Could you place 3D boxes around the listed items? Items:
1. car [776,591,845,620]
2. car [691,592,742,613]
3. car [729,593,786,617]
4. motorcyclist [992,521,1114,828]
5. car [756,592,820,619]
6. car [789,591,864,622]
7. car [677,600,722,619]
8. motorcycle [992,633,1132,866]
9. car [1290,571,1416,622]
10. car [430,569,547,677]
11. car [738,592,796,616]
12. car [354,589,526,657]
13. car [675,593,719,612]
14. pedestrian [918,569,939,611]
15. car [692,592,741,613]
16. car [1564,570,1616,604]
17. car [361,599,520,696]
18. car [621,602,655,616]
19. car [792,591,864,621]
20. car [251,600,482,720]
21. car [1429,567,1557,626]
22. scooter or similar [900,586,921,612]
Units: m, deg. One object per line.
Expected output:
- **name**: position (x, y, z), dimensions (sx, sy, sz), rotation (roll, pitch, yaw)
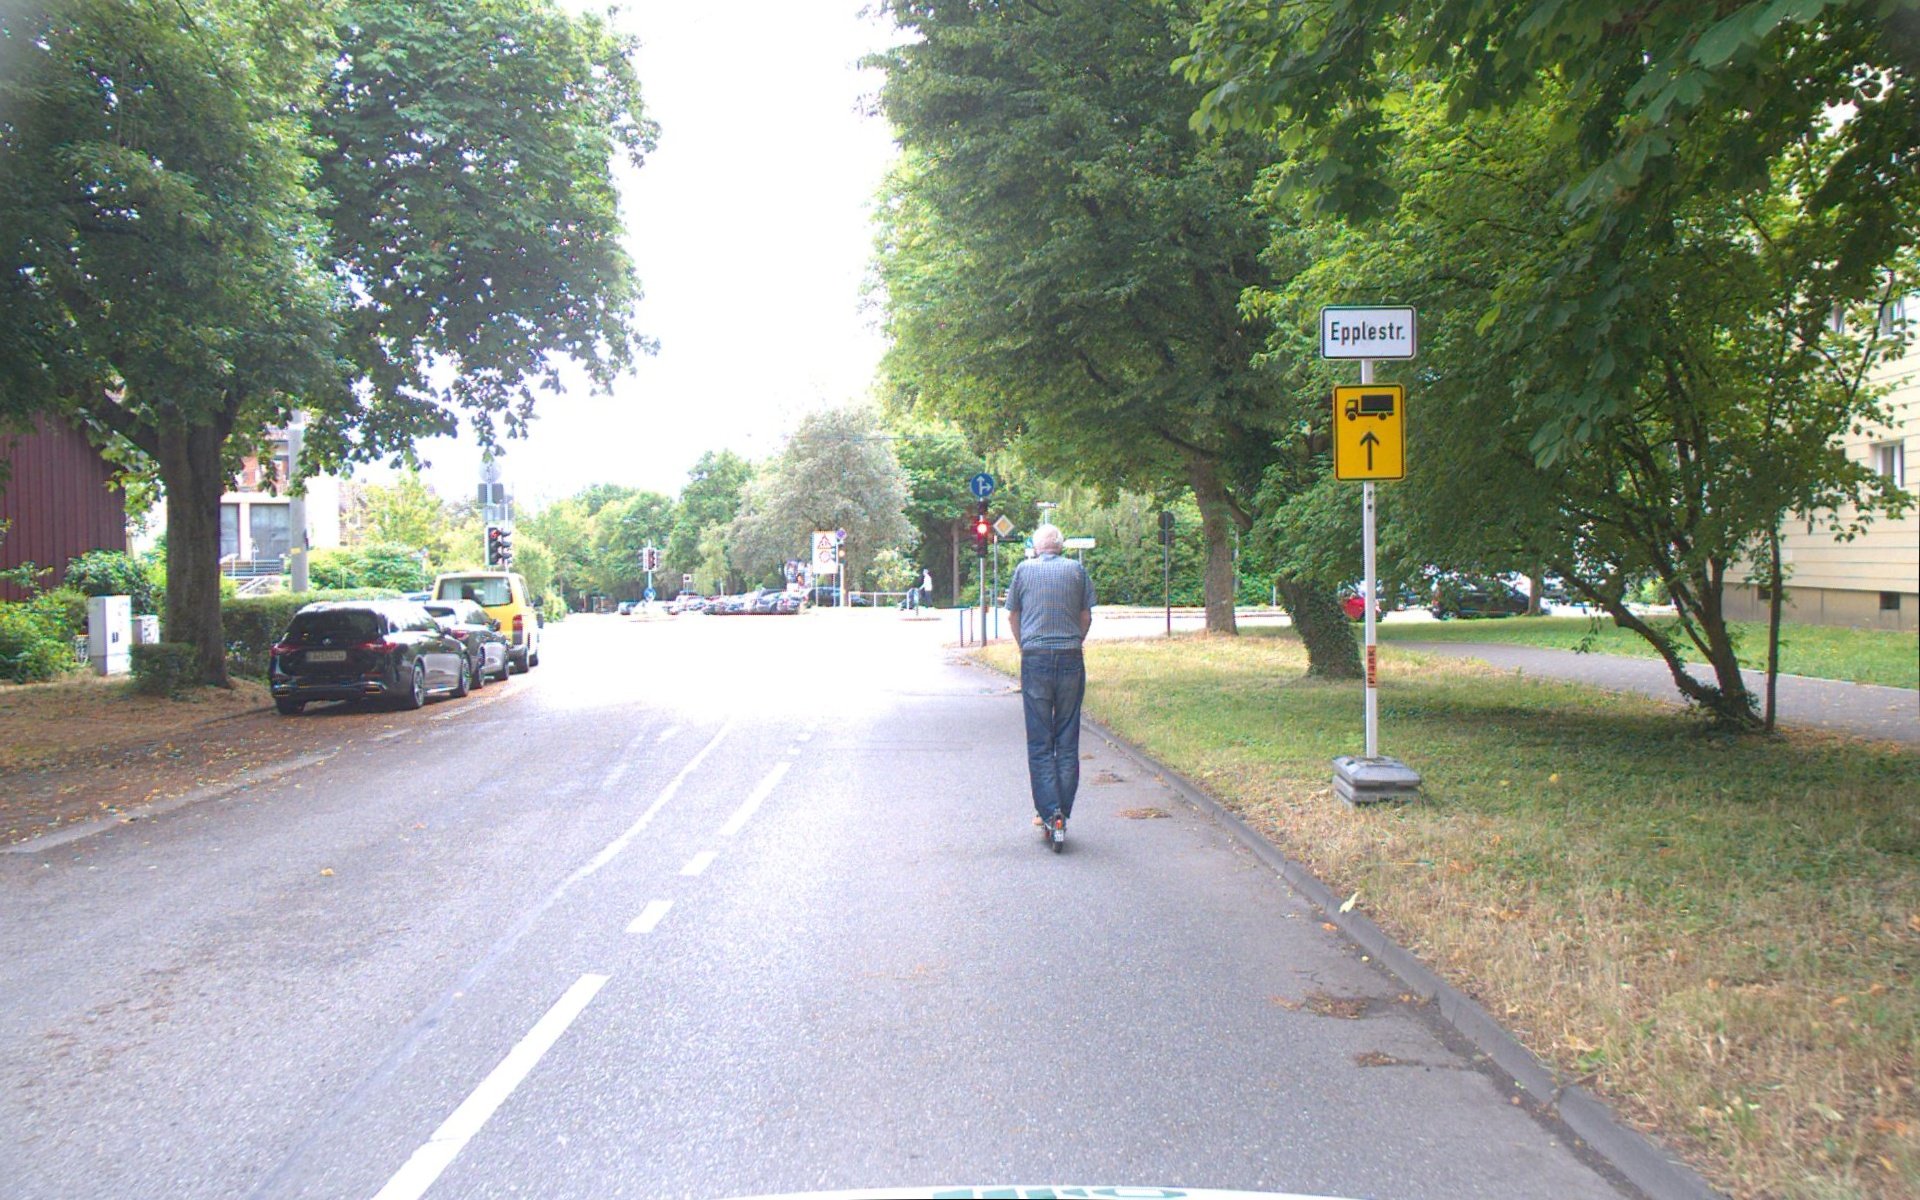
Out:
- **car**: position (-8.803, 0.311, 97.418), dimensions (3.912, 1.536, 1.797), rotation (-2, 0, -8)
- **car**: position (-19.196, 0.176, 130.335), dimensions (3.912, 1.536, 1.797), rotation (-2, 0, -8)
- **car**: position (-14.274, 0.311, 116.406), dimensions (3.912, 1.536, 1.797), rotation (-2, 0, -8)
- **motorcyclist**: position (0.549, 0.433, 10.002), dimensions (0.659, 1.792, 0.638), rotation (0, 0, -4)
- **car**: position (-10.830, 0.314, 104.083), dimensions (3.912, 1.536, 1.797), rotation (-2, 0, -8)
- **car**: position (-7.312, 0.338, 90.402), dimensions (3.912, 1.536, 1.797), rotation (-2, 0, -8)
- **car**: position (-23.357, 0.813, 148.235), dimensions (3.912, 1.536, 1.797), rotation (-2, 0, -8)
- **motorcycle**: position (0.572, 0.832, 9.716), dimensions (0.659, 1.239, 1.273), rotation (0, 0, -4)
- **car**: position (13.026, -0.140, 55.068), dimensions (3.902, 1.584, 1.802), rotation (0, 3, 7)
- **car**: position (-9.561, 0.445, 33.828), dimensions (1.824, 1.998, 4.493), rotation (-2, 0, -10)
- **car**: position (-13.385, 0.283, 114.589), dimensions (3.912, 1.536, 1.797), rotation (-2, 0, -8)
- **car**: position (-13.082, 0.548, 41.850), dimensions (3.916, 1.536, 1.796), rotation (-1, 2, -11)
- **car**: position (-23.939, 0.215, 150.539), dimensions (3.912, 1.536, 1.797), rotation (-2, 0, -8)
- **pedestrian**: position (-1.346, -0.415, 71.381), dimensions (0.716, 1.792, 0.662), rotation (-1, 0, 14)
- **car**: position (-19.708, 0.175, 134.055), dimensions (3.912, 1.536, 1.797), rotation (-2, 0, -8)
- **car**: position (29.857, -0.616, 78.481), dimensions (2.039, 1.536, 4.002), rotation (-2, 0, 17)
- **car**: position (-8.760, 0.745, 28.241), dimensions (1.760, 1.440, 4.184), rotation (-2, 1, -6)
- **car**: position (-39.336, 1.060, 201.974), dimensions (3.912, 1.536, 1.797), rotation (-2, 0, -8)
- **car**: position (-7.512, 0.313, 93.975), dimensions (3.912, 1.536, 1.797), rotation (-2, 0, -8)
- **car**: position (-8.101, 0.753, 23.026), dimensions (1.855, 1.435, 4.549), rotation (-2, 0, -5)
- **car**: position (17.397, -0.148, 54.008), dimensions (3.904, 1.756, 1.801), rotation (1, 4, 20)
- **scooter or similar**: position (-2.130, -0.047, 71.725), dimensions (0.695, 1.067, 0.788), rotation (-1, 0, 14)
